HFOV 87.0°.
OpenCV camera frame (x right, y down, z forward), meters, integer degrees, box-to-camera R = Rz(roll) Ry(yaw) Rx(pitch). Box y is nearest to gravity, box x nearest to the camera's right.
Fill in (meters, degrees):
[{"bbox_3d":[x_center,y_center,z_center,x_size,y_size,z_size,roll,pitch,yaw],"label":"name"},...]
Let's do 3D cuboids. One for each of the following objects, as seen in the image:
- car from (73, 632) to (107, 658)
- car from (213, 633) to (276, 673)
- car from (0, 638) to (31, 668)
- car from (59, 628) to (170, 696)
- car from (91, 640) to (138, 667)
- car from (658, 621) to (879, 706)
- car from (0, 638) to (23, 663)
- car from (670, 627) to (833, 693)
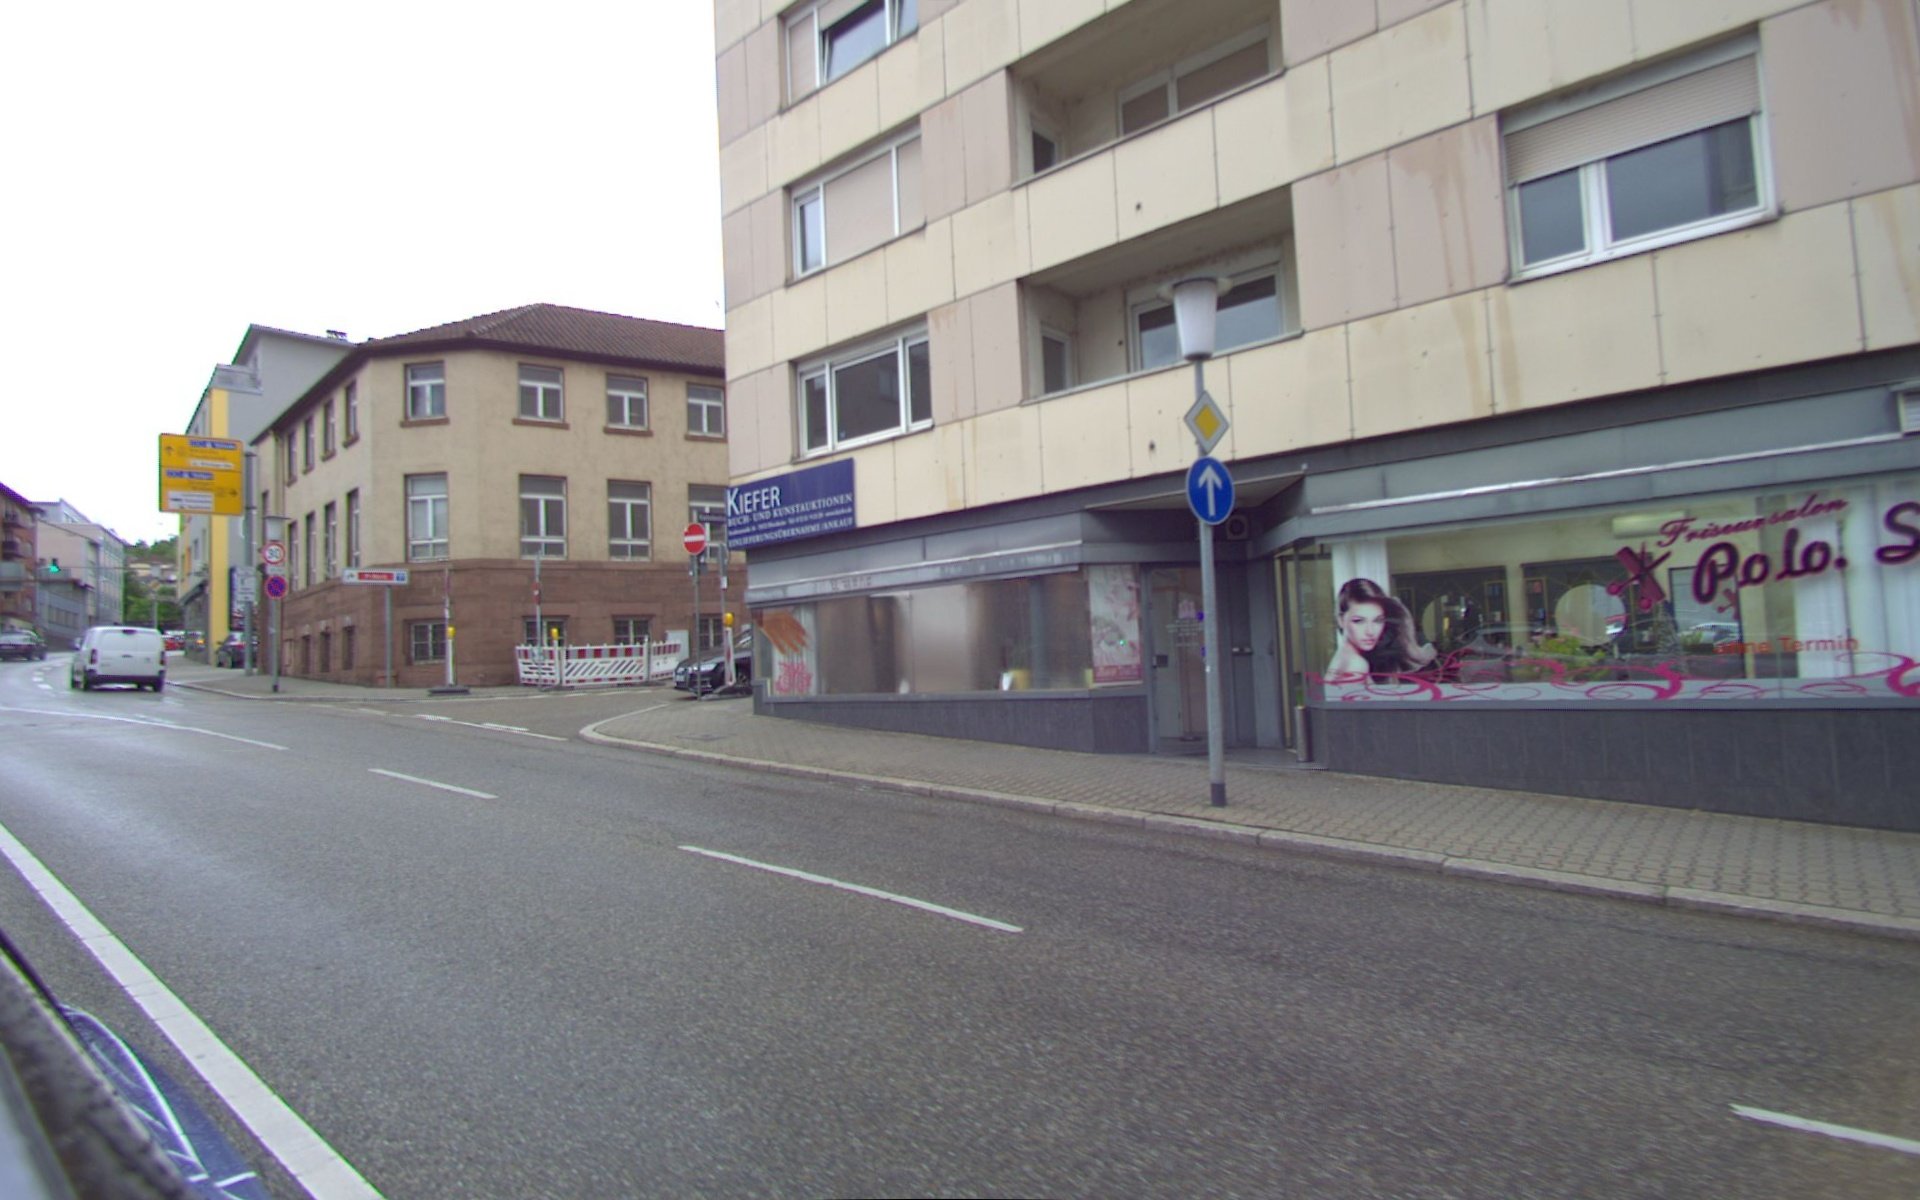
[{"bbox_3d":[-67.966,3.506,79.102,1.820,1.918,3.772,0,-2,-38],"label":"car"},{"bbox_3d":[-30.103,2.201,42.515,1.834,1.465,3.969,-3,0,-39],"label":"car"},{"bbox_3d":[-49.054,2.683,51.943,1.835,1.465,4.324,1,-3,-41],"label":"car"},{"bbox_3d":[-24.511,1.736,29.287,4.265,1.817,1.841,-2,-3,42],"label":"car"},{"bbox_3d":[-48.015,3.013,57.447,1.835,1.465,4.324,4,-5,-41],"label":"car"},{"bbox_3d":[-4.022,1.278,21.637,4.296,1.515,1.757,-1,-1,-39],"label":"car"},{"bbox_3d":[-58.224,3.041,61.276,1.834,1.465,4.326,1,-2,-38],"label":"car"},{"bbox_3d":[-5.461,1.563,26.638,3.750,1.478,1.758,-1,-4,-36],"label":"car"}]
